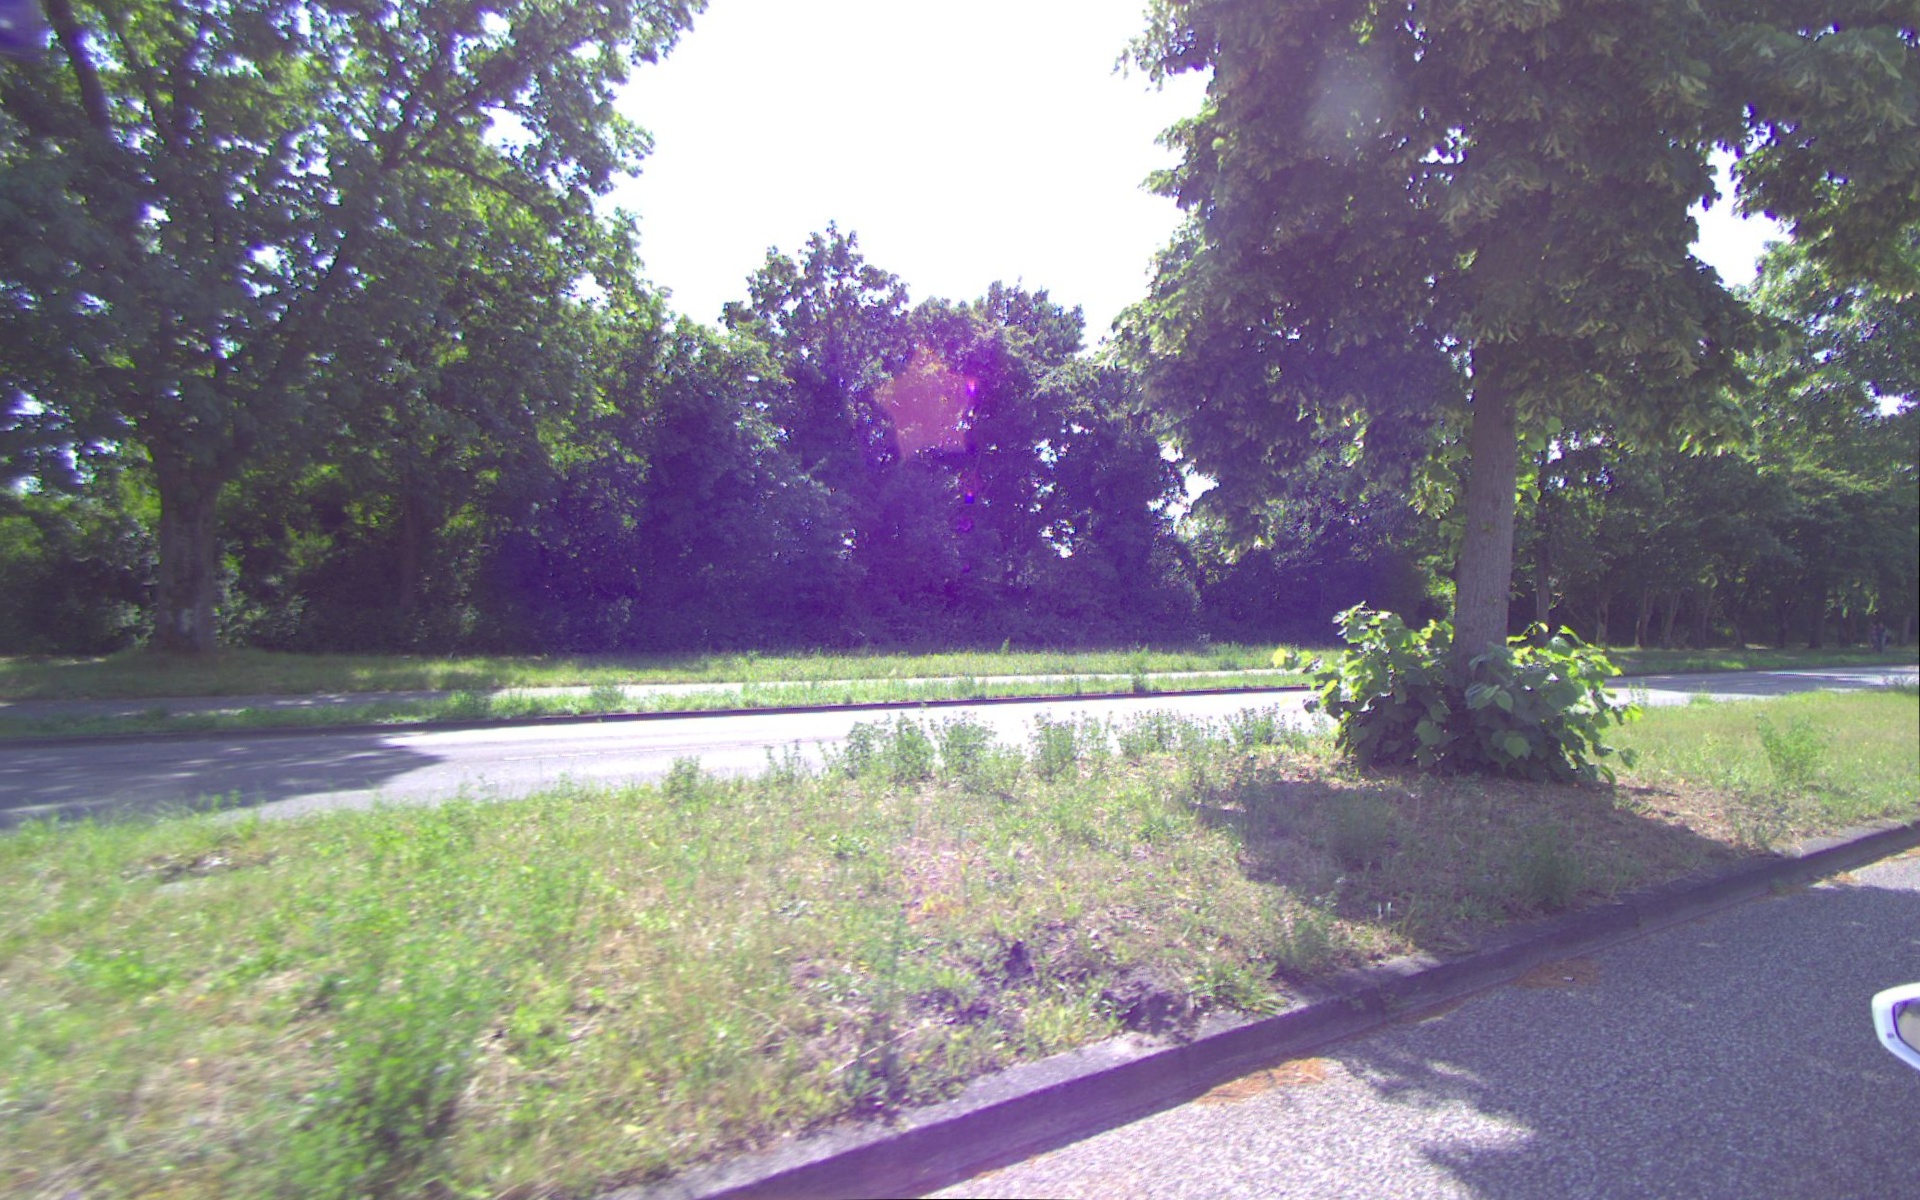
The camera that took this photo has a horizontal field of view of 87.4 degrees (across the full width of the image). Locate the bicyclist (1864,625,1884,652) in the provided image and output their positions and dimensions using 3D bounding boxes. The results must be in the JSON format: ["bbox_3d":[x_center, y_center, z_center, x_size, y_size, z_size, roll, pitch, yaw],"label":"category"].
[{"bbox_3d":[49.552,2.091,54.468,0.721,1.467,0.615,1,0,-30],"label":"bicyclist"}]

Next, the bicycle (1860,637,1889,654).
[{"bbox_3d":[49.623,2.459,54.510,1.892,0.890,0.615,1,0,-30],"label":"bicycle"}]

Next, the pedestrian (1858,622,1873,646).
[{"bbox_3d":[64.686,2.406,71.752,0.649,1.652,0.640,1,1,-32],"label":"pedestrian"}]
